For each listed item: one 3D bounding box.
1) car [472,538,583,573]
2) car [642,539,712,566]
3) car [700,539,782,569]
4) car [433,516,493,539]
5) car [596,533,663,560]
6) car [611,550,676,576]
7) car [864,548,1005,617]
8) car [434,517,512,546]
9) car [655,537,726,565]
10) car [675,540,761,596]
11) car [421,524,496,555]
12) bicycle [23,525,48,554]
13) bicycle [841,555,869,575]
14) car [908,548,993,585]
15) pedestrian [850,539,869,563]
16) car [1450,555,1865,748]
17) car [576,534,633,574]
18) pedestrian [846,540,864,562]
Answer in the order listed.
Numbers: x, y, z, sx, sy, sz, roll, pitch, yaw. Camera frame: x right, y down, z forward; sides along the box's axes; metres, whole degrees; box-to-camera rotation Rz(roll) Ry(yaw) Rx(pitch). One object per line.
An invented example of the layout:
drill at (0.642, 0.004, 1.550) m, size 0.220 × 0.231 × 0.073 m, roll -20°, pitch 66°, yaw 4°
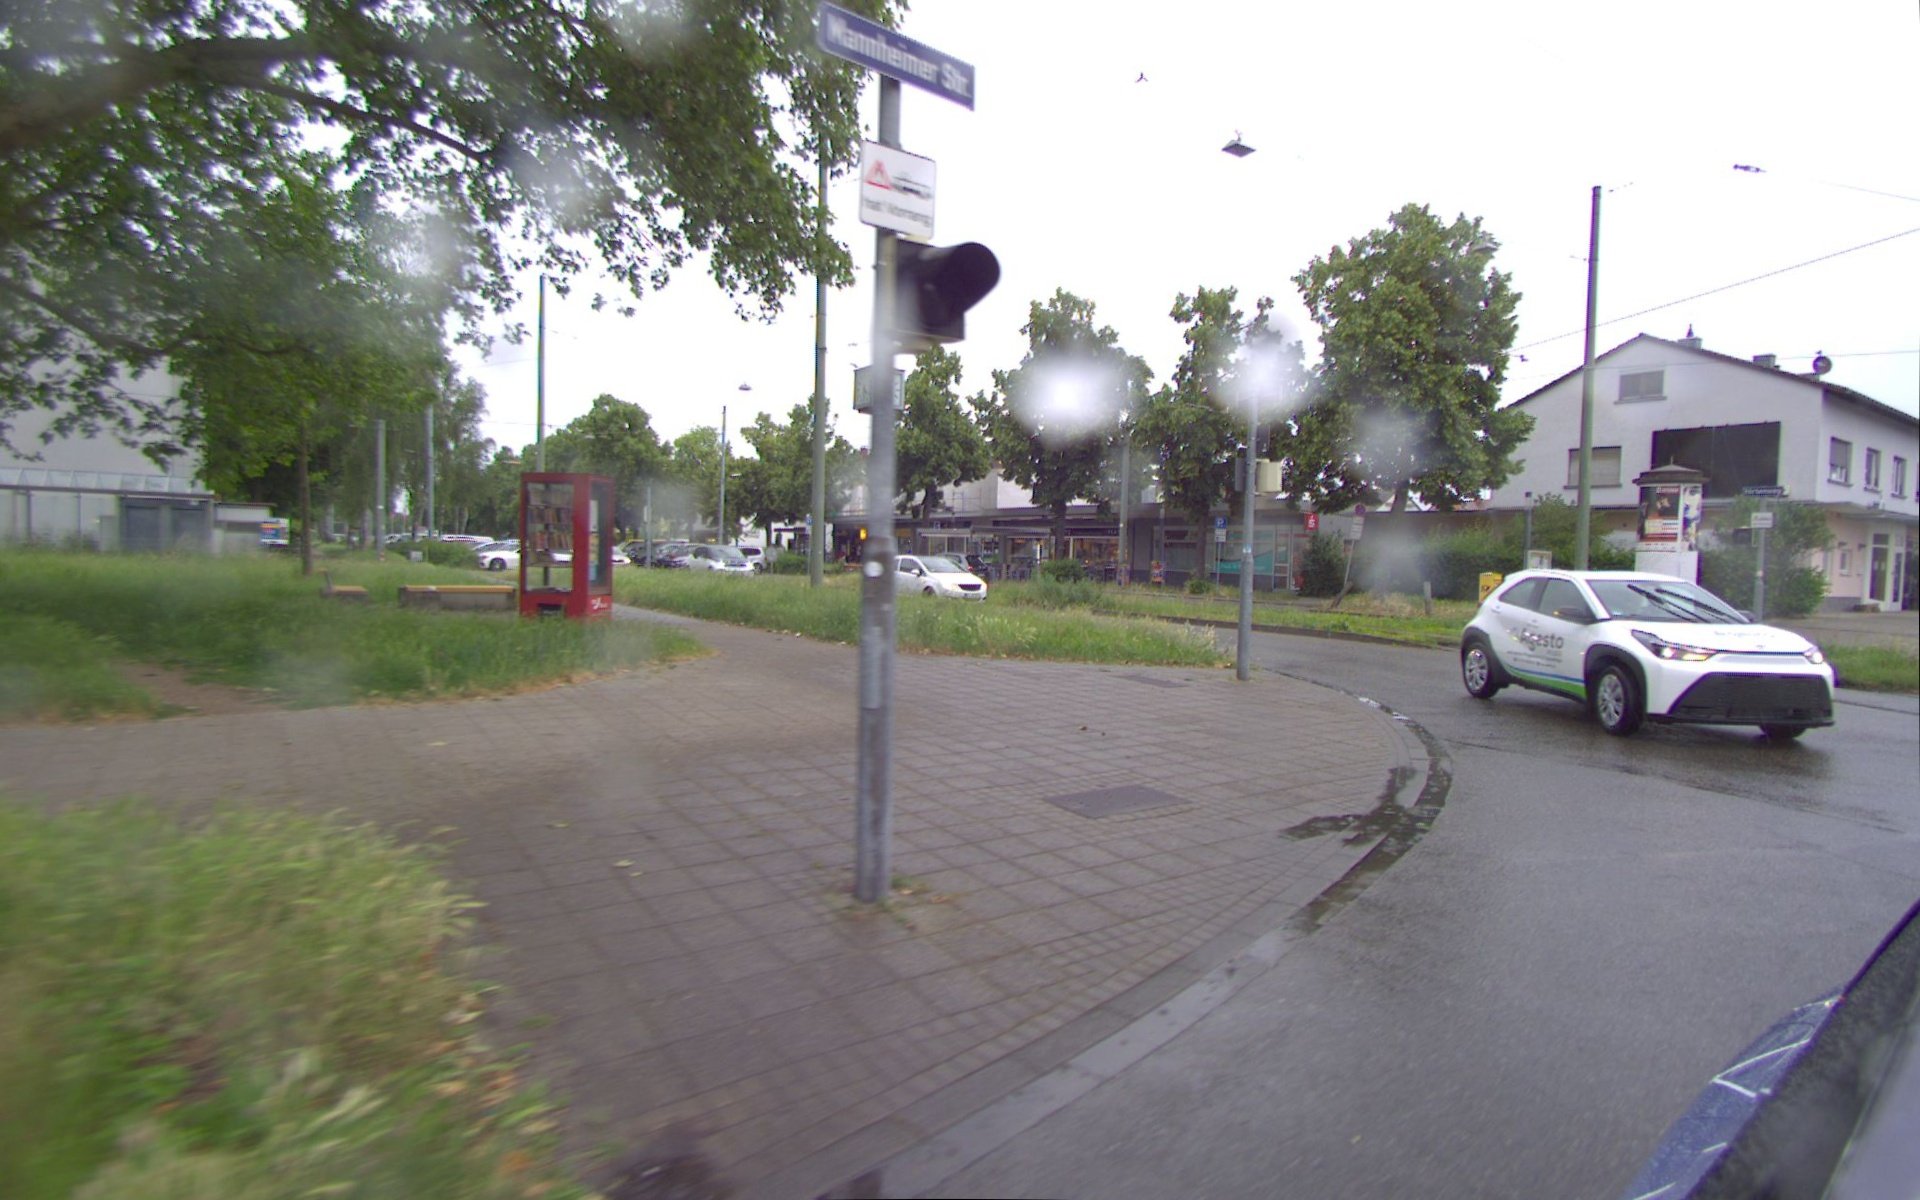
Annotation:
car at (-21.323, -2.177, 49.930) m, size 4.748 × 1.476 × 2.002 m, roll 2°, pitch 2°, yaw -34°
car at (-18.695, -3.158, 66.914) m, size 4.015 × 1.730 × 1.899 m, roll -2°, pitch 4°, yaw -35°
car at (-12.820, -2.711, 59.305) m, size 4.256 × 1.694 × 2.001 m, roll -2°, pitch 4°, yaw -35°
car at (-43.508, -6.311, 88.642) m, size 4.464 × 1.966 × 1.899 m, roll -2°, pitch 4°, yaw -35°
car at (-25.152, -4.076, 77.044) m, size 4.464 × 1.966 × 1.899 m, roll -2°, pitch 4°, yaw -35°
car at (-23.301, -2.731, 74.606) m, size 4.225 × 1.831 × 1.899 m, roll -2°, pitch 4°, yaw -35°
car at (-0.779, -0.549, 28.131) m, size 1.928 × 1.571 × 4.001 m, roll -1°, pitch 6°, yaw -37°
car at (-31.503, -4.441, 65.480) m, size 4.360 × 1.868 × 1.724 m, roll -3°, pitch 4°, yaw -33°
car at (-17.283, -3.149, 65.002) m, size 4.015 × 1.730 × 1.899 m, roll -2°, pitch 4°, yaw -35°
car at (-9.713, -1.336, 40.429) m, size 1.963 × 2.037 × 4.002 m, roll -3°, pitch 5°, yaw -35°
car at (-34.574, -4.203, 69.815) m, size 4.365 × 2.086 × 1.723 m, roll -3°, pitch 5°, yaw -37°
bicycle at (-32.256, -2.117, 35.331) m, size 0.370 × 0.967 × 1.239 m, roll -2°, pitch 4°, yaw -31°
bicycle at (-6.184, -2.076, 59.613) m, size 1.742 × 1.085 × 0.585 m, roll 4°, pitch 2°, yaw 39°
car at (-0.460, -1.510, 44.463) m, size 3.605 × 1.521 × 1.531 m, roll 3°, pitch 5°, yaw 39°
pedestrian at (-7.407, -3.605, 74.463) m, size 1.058 × 1.734 × 0.950 m, roll 1°, pitch 3°, yaw -23°
car at (6.827, 0.392, 10.460) m, size 1.688 × 1.643 × 3.716 m, roll 0°, pitch 1°, yaw 0°
car at (-19.342, -2.527, 55.015) m, size 1.962 × 2.037 × 4.003 m, roll -3°, pitch 5°, yaw -34°
pedestrian at (-7.826, -3.637, 75.505) m, size 1.058 × 1.603 × 0.950 m, roll 1°, pitch 3°, yaw -23°
